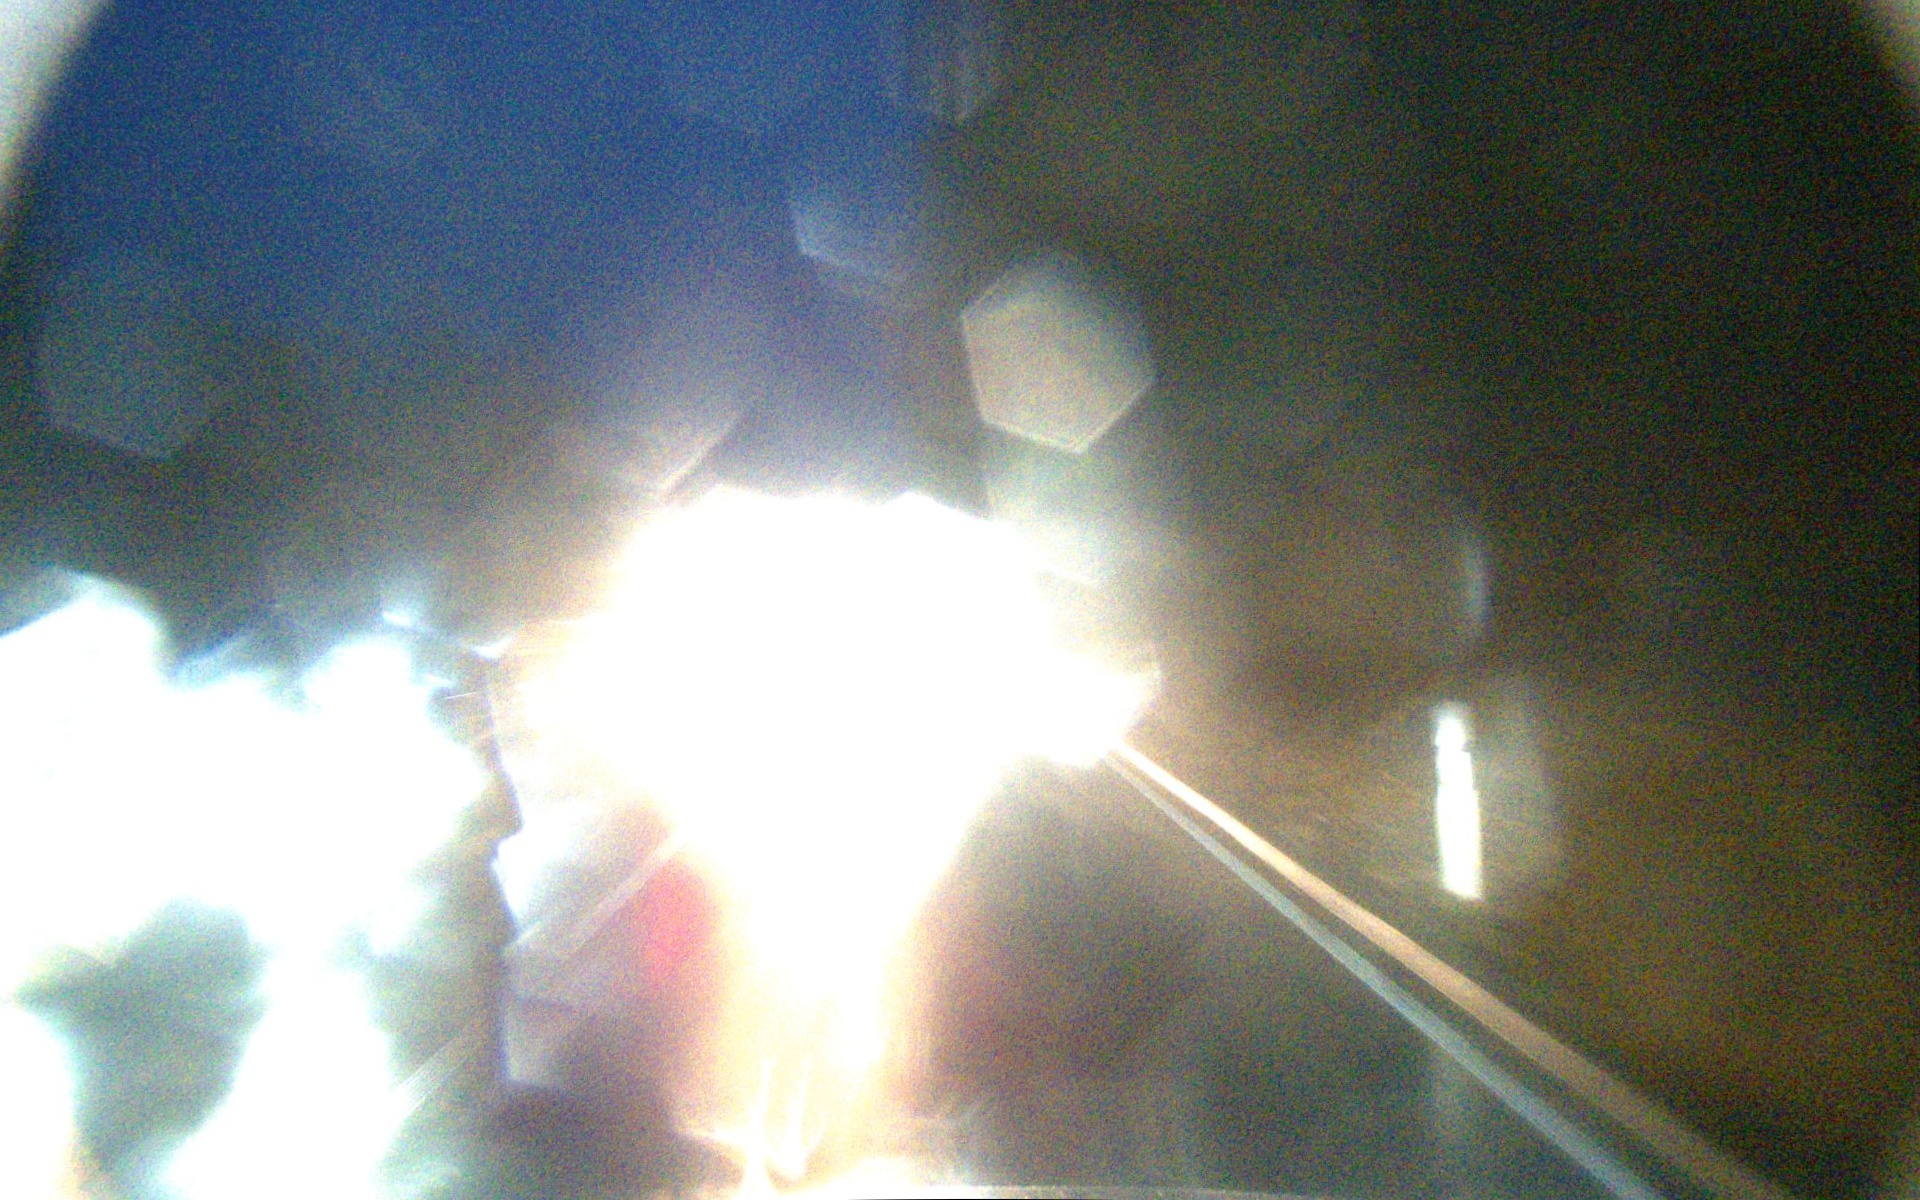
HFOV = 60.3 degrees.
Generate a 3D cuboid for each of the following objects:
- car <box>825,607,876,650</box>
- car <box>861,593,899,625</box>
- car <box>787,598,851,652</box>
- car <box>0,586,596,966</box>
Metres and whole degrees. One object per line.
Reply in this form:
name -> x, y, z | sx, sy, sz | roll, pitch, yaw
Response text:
car -> -4.590, 1.205, 70.092 | 1.850, 1.663, 4.389 | -3, -1, -1
car -> -4.584, 0.527, 94.247 | 2.000, 1.635, 3.995 | -3, -1, -4
car -> -4.094, 0.696, 48.496 | 1.666, 1.493, 4.039 | 0, 0, -3
car -> -3.353, 0.739, 9.111 | 1.850, 1.614, 3.999 | 0, 0, -1
